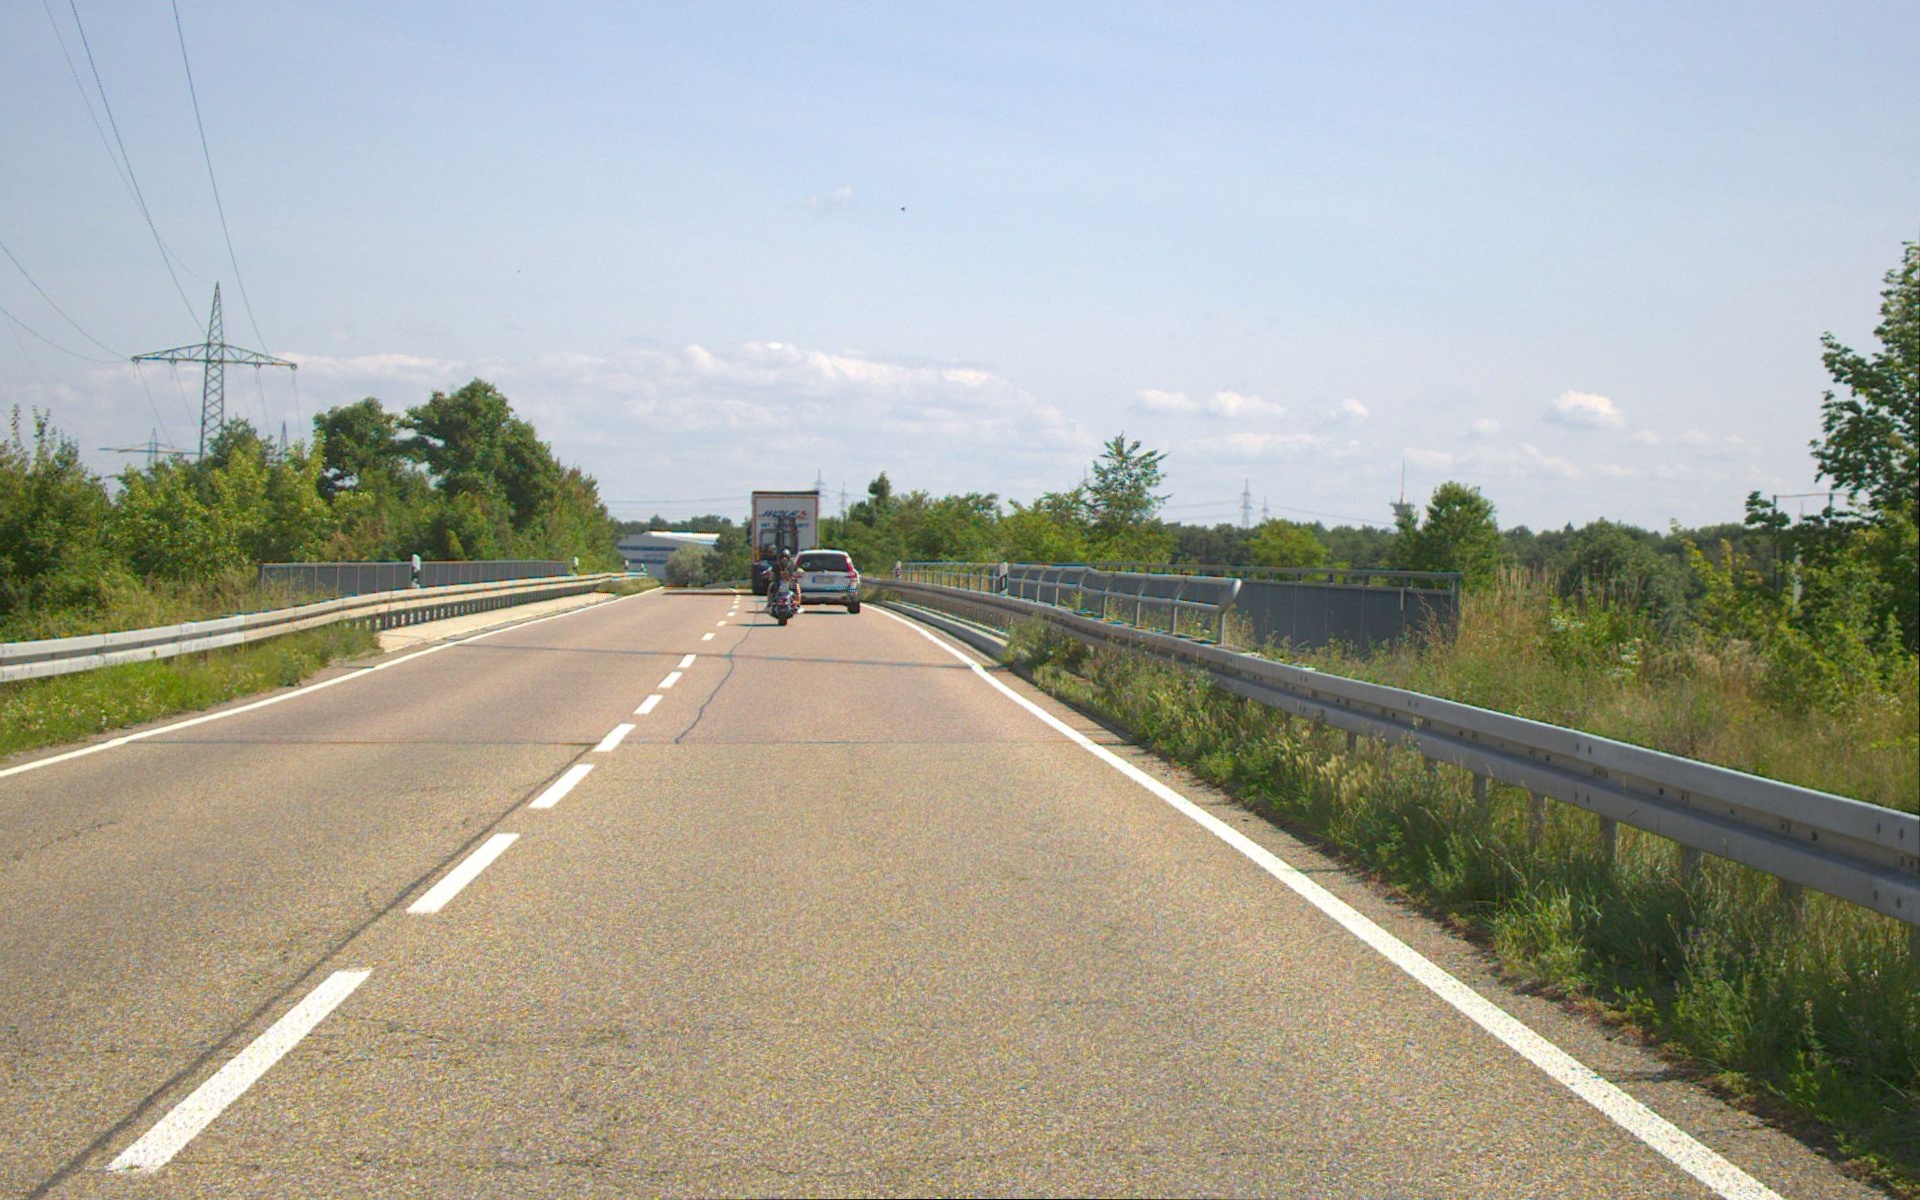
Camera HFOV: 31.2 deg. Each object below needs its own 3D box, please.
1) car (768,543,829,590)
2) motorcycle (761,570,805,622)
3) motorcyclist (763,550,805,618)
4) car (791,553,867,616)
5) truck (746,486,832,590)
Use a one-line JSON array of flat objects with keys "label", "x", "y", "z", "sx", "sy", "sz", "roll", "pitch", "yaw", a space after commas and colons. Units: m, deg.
[{"label": "car", "x": -5.167, "y": -1.079, "z": 110.410, "sx": 1.866, "sy": 1.415, "sz": 4.001, "roll": 1, "pitch": 1, "yaw": -2}, {"label": "motorcycle", "x": -3.507, "y": -0.088, "z": 68.247, "sx": 0.780, "sy": 0.972, "sz": 2.362, "roll": 1, "pitch": 1, "yaw": -1}, {"label": "motorcyclist", "x": -3.494, "y": -0.314, "z": 68.263, "sx": 0.780, "sy": 1.321, "sz": 0.813, "roll": 1, "pitch": 1, "yaw": -1}, {"label": "car", "x": -3.232, "y": -0.400, "z": 85.073, "sx": 1.825, "sy": 1.446, "sz": 4.001, "roll": 1, "pitch": 1, "yaw": -2}, {"label": "truck", "x": -6.762, "y": -2.449, "z": 137.046, "sx": 3.241, "sy": 3.965, "sz": 9.445, "roll": 1, "pitch": 1, "yaw": -2}]
